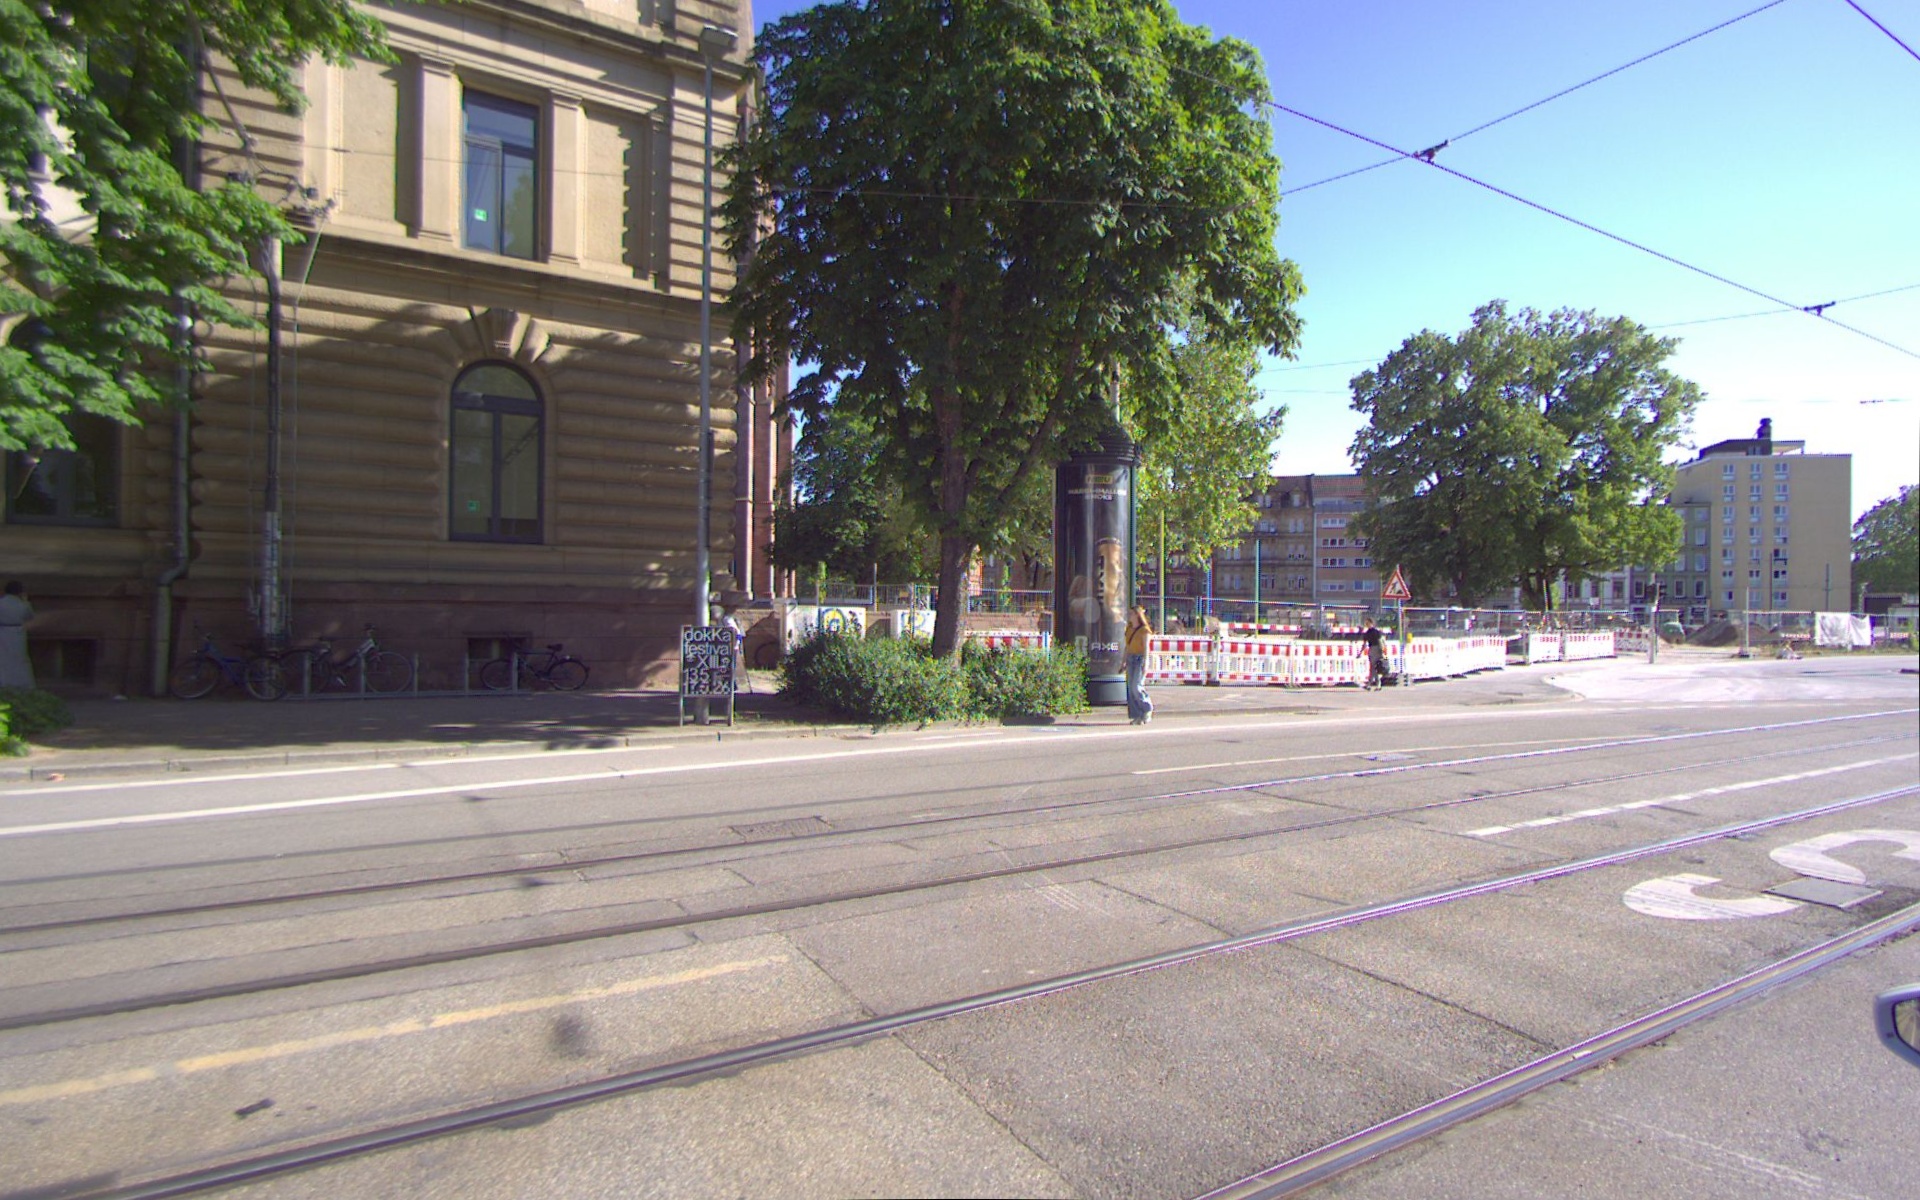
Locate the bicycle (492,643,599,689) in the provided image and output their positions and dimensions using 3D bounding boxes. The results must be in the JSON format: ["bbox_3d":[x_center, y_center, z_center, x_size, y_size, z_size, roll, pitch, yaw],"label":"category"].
[{"bbox_3d":[-6.949,1.095,16.876,1.601,0.734,0.478,2,-1,-30],"label":"bicycle"}]

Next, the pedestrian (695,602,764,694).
[{"bbox_3d":[-3.938,0.796,17.156,0.908,1.524,0.704,0,-1,33],"label":"pedestrian"}]

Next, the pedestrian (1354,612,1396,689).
[{"bbox_3d":[9.404,1.127,22.762,0.673,1.719,0.614,1,-1,-36],"label":"pedestrian"}]

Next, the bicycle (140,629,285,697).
[{"bbox_3d":[-10.717,0.890,14.460,1.601,0.929,0.478,2,-1,-30],"label":"bicycle"}]

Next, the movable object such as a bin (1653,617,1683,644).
[{"bbox_3d":[54.587,2.331,77.429,1.893,2.040,3.986,0,-1,36],"label":"movable object such as a bin"}]

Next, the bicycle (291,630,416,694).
[{"bbox_3d":[-9.259,0.937,15.387,1.601,0.929,0.478,2,-1,-30],"label":"bicycle"}]

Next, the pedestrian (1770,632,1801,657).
[{"bbox_3d":[36.331,1.966,44.224,0.648,1.060,0.893,1,-1,-30],"label":"pedestrian"}]

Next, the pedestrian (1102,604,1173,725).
[{"bbox_3d":[2.619,0.940,14.830,0.809,1.719,0.633,1,-2,-28],"label":"pedestrian"}]

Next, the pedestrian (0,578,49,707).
[{"bbox_3d":[-12.667,0.549,13.308,0.751,1.657,0.697,1,2,-31],"label":"pedestrian"}]
